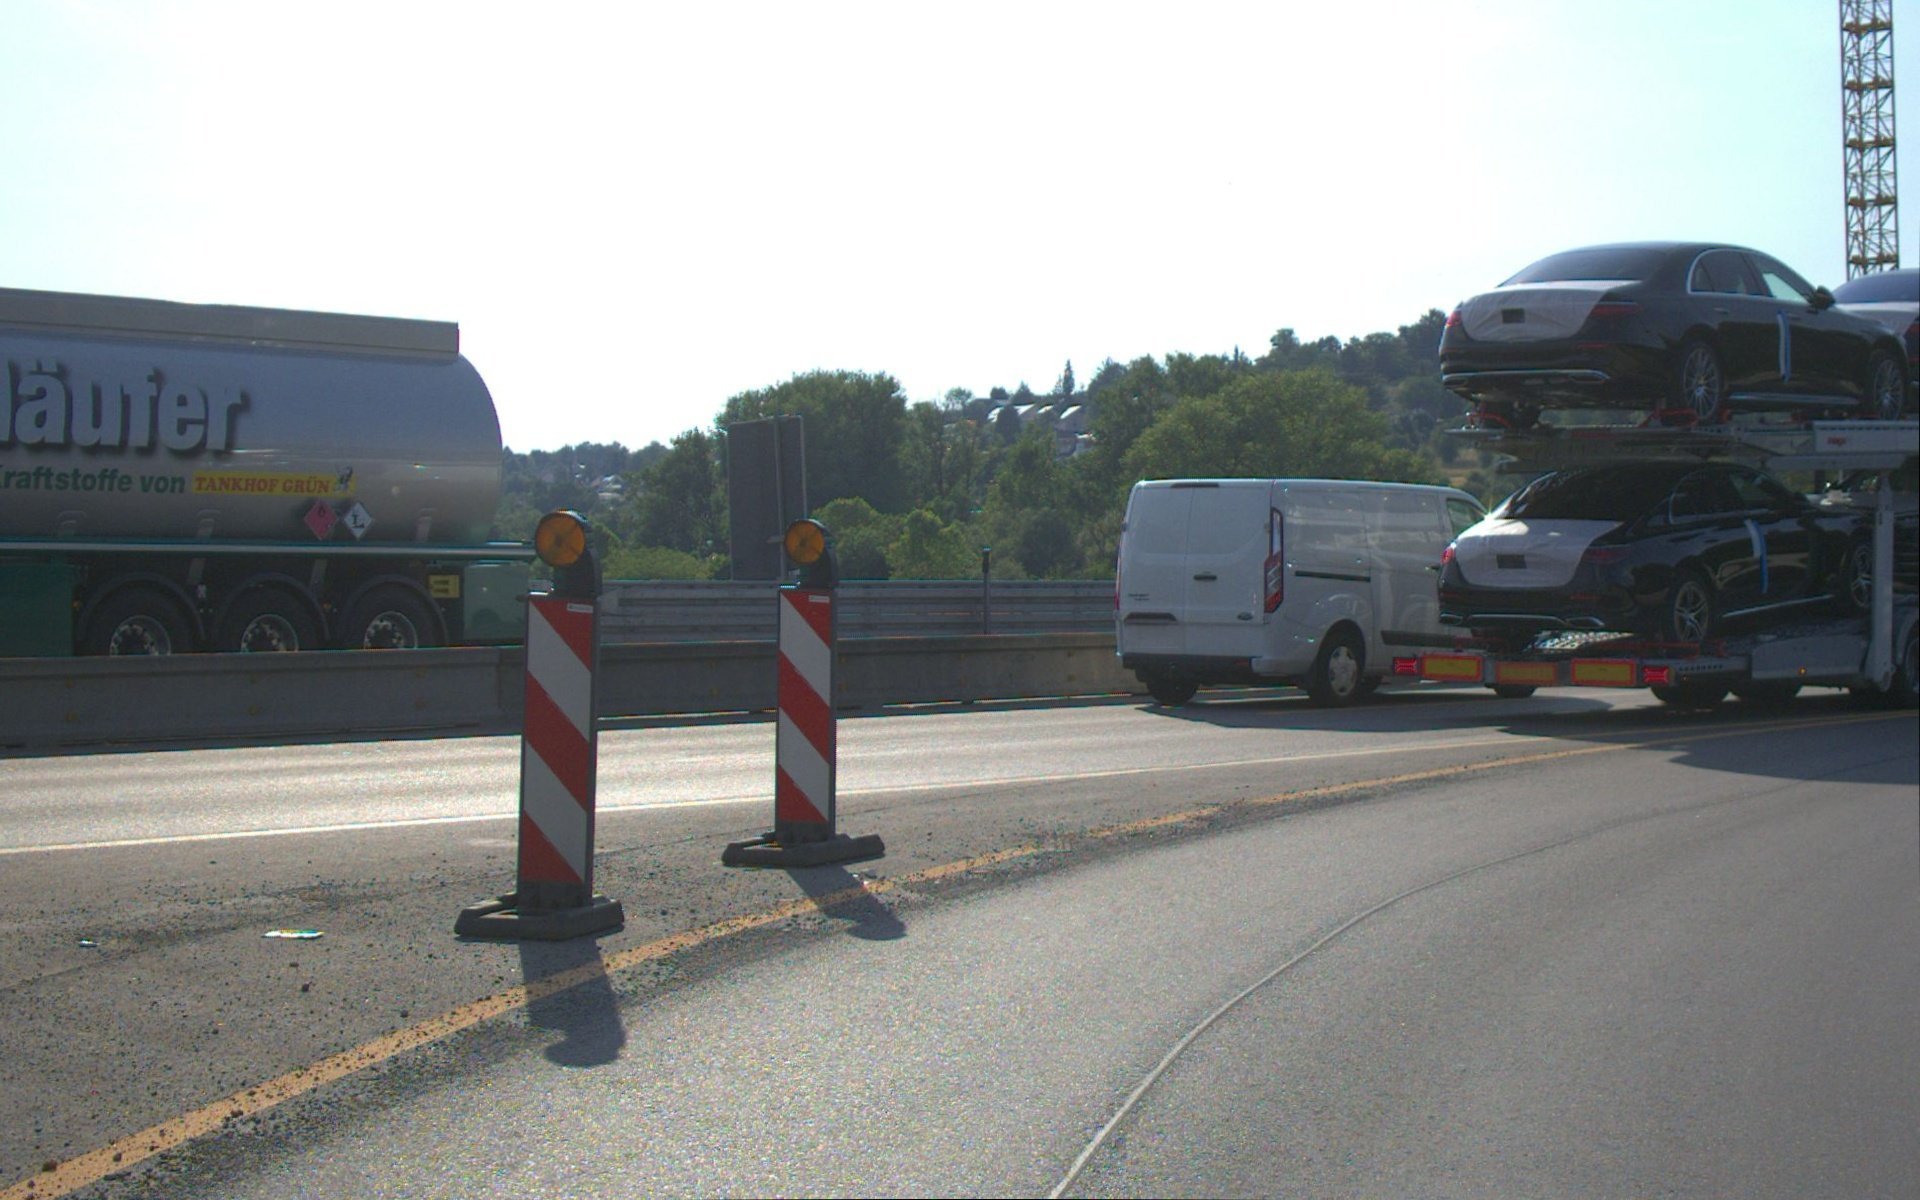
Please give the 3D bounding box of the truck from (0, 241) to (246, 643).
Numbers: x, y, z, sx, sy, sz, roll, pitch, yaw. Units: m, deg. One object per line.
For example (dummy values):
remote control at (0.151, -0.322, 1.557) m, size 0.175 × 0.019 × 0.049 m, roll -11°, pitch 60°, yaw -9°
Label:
truck at (-8.655, -1.233, 27.294) m, size 2.145 × 3.124 × 5.674 m, roll -2°, pitch -2°, yaw 41°

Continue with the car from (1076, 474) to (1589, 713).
car at (3.447, -0.080, 31.046) m, size 2.034 × 1.974 × 4.967 m, roll 2°, pitch 1°, yaw 42°

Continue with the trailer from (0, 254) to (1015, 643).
trailer at (-3.871, -1.183, 32.719) m, size 2.145 × 3.124 × 10.955 m, roll -2°, pitch -2°, yaw 41°

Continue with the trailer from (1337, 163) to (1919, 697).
trailer at (9.282, -1.206, 32.495) m, size 2.864 × 3.983 × 15.707 m, roll 0°, pitch -1°, yaw 41°
